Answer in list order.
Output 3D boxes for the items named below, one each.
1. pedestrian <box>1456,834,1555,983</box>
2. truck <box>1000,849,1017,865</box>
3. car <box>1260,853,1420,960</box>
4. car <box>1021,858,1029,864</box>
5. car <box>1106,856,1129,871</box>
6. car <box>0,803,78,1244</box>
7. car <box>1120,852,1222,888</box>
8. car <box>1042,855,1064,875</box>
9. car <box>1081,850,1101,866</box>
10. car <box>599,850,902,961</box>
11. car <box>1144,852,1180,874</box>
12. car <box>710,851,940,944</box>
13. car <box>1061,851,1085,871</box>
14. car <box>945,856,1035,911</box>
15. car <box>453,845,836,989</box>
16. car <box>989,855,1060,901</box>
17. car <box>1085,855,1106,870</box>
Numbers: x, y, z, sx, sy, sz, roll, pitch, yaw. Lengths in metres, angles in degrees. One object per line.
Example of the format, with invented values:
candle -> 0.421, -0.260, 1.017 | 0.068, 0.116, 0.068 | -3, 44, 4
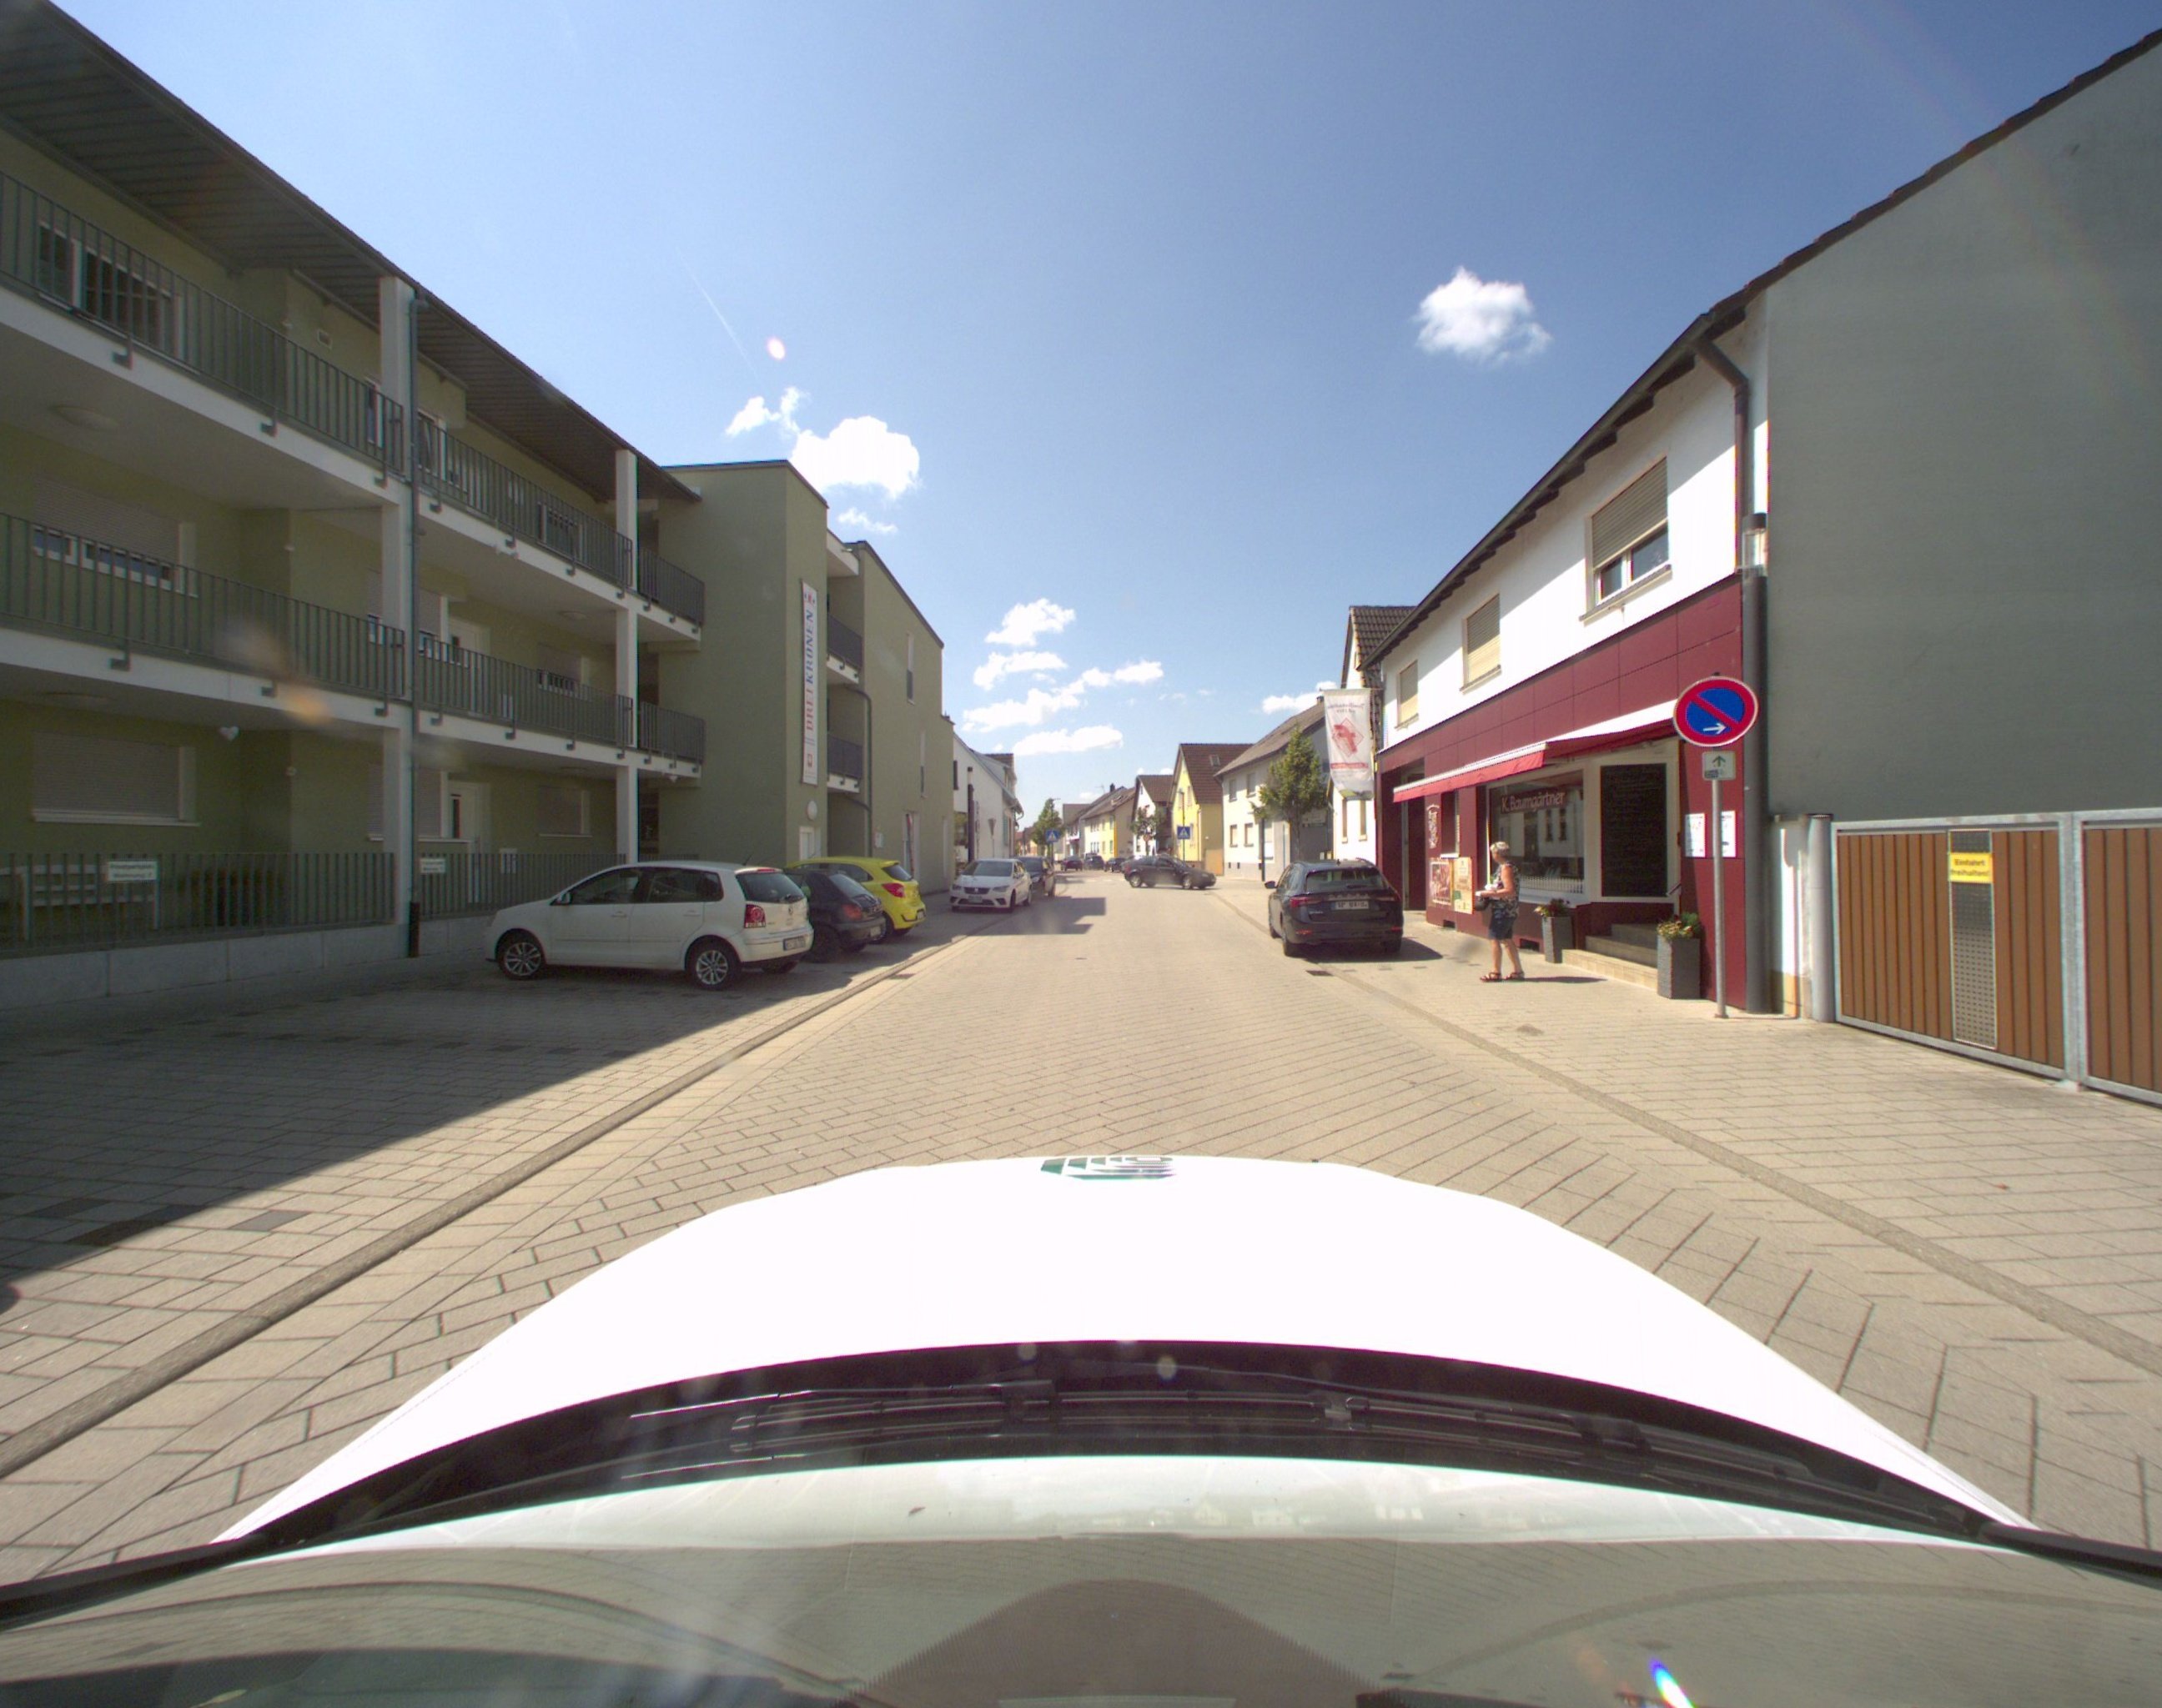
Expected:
pedestrian -> 4.953, 0.622, 9.557 | 0.725, 1.640, 0.750 | -4, -1, 7
truck -> -17.811, 0.722, 200.752 | 3.563, 3.954, 8.555 | -1, 0, -9
car -> 4.173, 0.752, 13.862 | 1.847, 1.459, 4.597 | -3, 0, 9
car -> -13.359, 1.604, 194.959 | 1.686, 1.452, 3.784 | -1, 0, -7
car -> 3.470, 0.924, 78.080 | 1.708, 1.387, 3.698 | -1, 0, -6
car -> -6.219, 0.586, 2.581 | 4.197, 1.658, 1.787 | 1, 0, 6
car -> 3.997, 0.718, 36.097 | 4.068, 1.438, 1.775 | -2, 0, 25
car -> -2.301, 0.880, 66.146 | 1.743, 1.530, 3.995 | 0, 0, -3
car -> 1.180, 0.493, 97.331 | 1.904, 1.871, 3.991 | -1, 0, -6
car -> -5.038, 0.742, 12.711 | 3.967, 1.441, 1.694 | 2, 0, 5
car -> 6.016, 0.690, 60.910 | 1.827, 1.471, 4.267 | -3, 0, -6
car -> -4.687, 0.756, 15.202 | 3.673, 1.525, 1.675 | 2, 0, 6
car -> -0.879, 0.712, 84.070 | 1.991, 2.058, 4.364 | -1, 0, -7
car -> -2.515, 0.776, 23.509 | 1.749, 1.411, 3.884 | 1, 0, 6
car -> -5.351, 0.708, 10.267 | 3.880, 1.502, 1.754 | 2, 0, 7
car -> -1.929, 0.785, 29.095 | 1.804, 1.490, 4.284 | 1, 0, 6
car -> 1.642, 0.900, 91.849 | 1.875, 1.591, 3.991 | -1, 0, -6
